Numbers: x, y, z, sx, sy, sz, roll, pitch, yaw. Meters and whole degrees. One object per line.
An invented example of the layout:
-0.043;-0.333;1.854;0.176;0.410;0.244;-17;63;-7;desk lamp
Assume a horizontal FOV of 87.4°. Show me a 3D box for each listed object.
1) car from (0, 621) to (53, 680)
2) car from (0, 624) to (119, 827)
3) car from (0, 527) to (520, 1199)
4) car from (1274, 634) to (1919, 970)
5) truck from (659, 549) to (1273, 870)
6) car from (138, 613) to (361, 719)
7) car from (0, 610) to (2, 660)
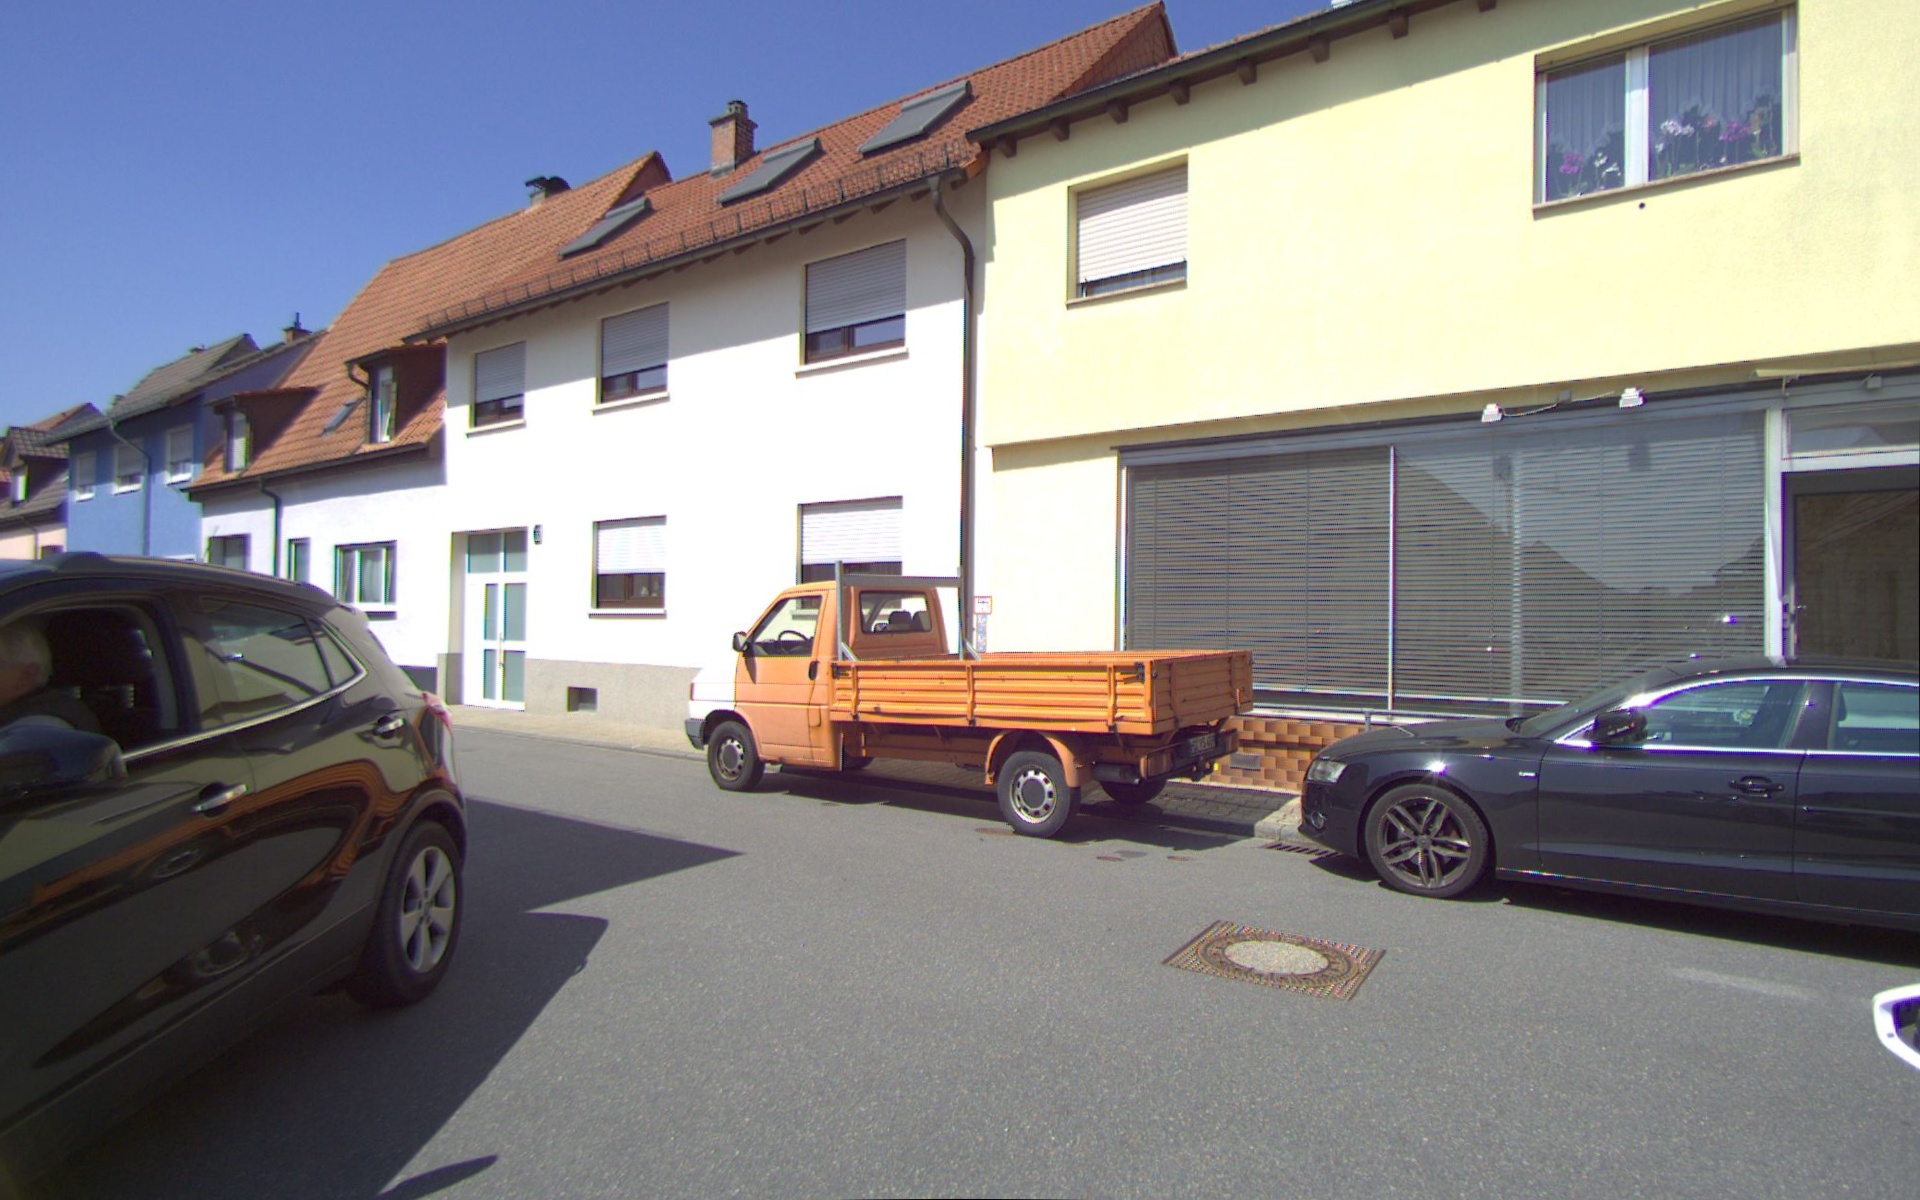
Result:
-26.265;1.325;27.115;4.145;1.521;1.720;-1;-2;35;car
-8.517;0.924;8.146;3.862;1.386;1.634;0;0;34;car
-2.746;0.691;2.476;1.729;1.604;4.279;0;-2;-5;car
4.306;0.989;5.520;4.554;1.412;1.923;0;-5;34;car
-0.118;0.733;8.749;4.997;2.040;2.182;0;-2;36;truck
-12.301;1.068;17.345;3.933;1.635;1.845;-1;-2;34;car
-32.610;1.262;32.042;3.930;2.040;1.996;1;-1;32;car
